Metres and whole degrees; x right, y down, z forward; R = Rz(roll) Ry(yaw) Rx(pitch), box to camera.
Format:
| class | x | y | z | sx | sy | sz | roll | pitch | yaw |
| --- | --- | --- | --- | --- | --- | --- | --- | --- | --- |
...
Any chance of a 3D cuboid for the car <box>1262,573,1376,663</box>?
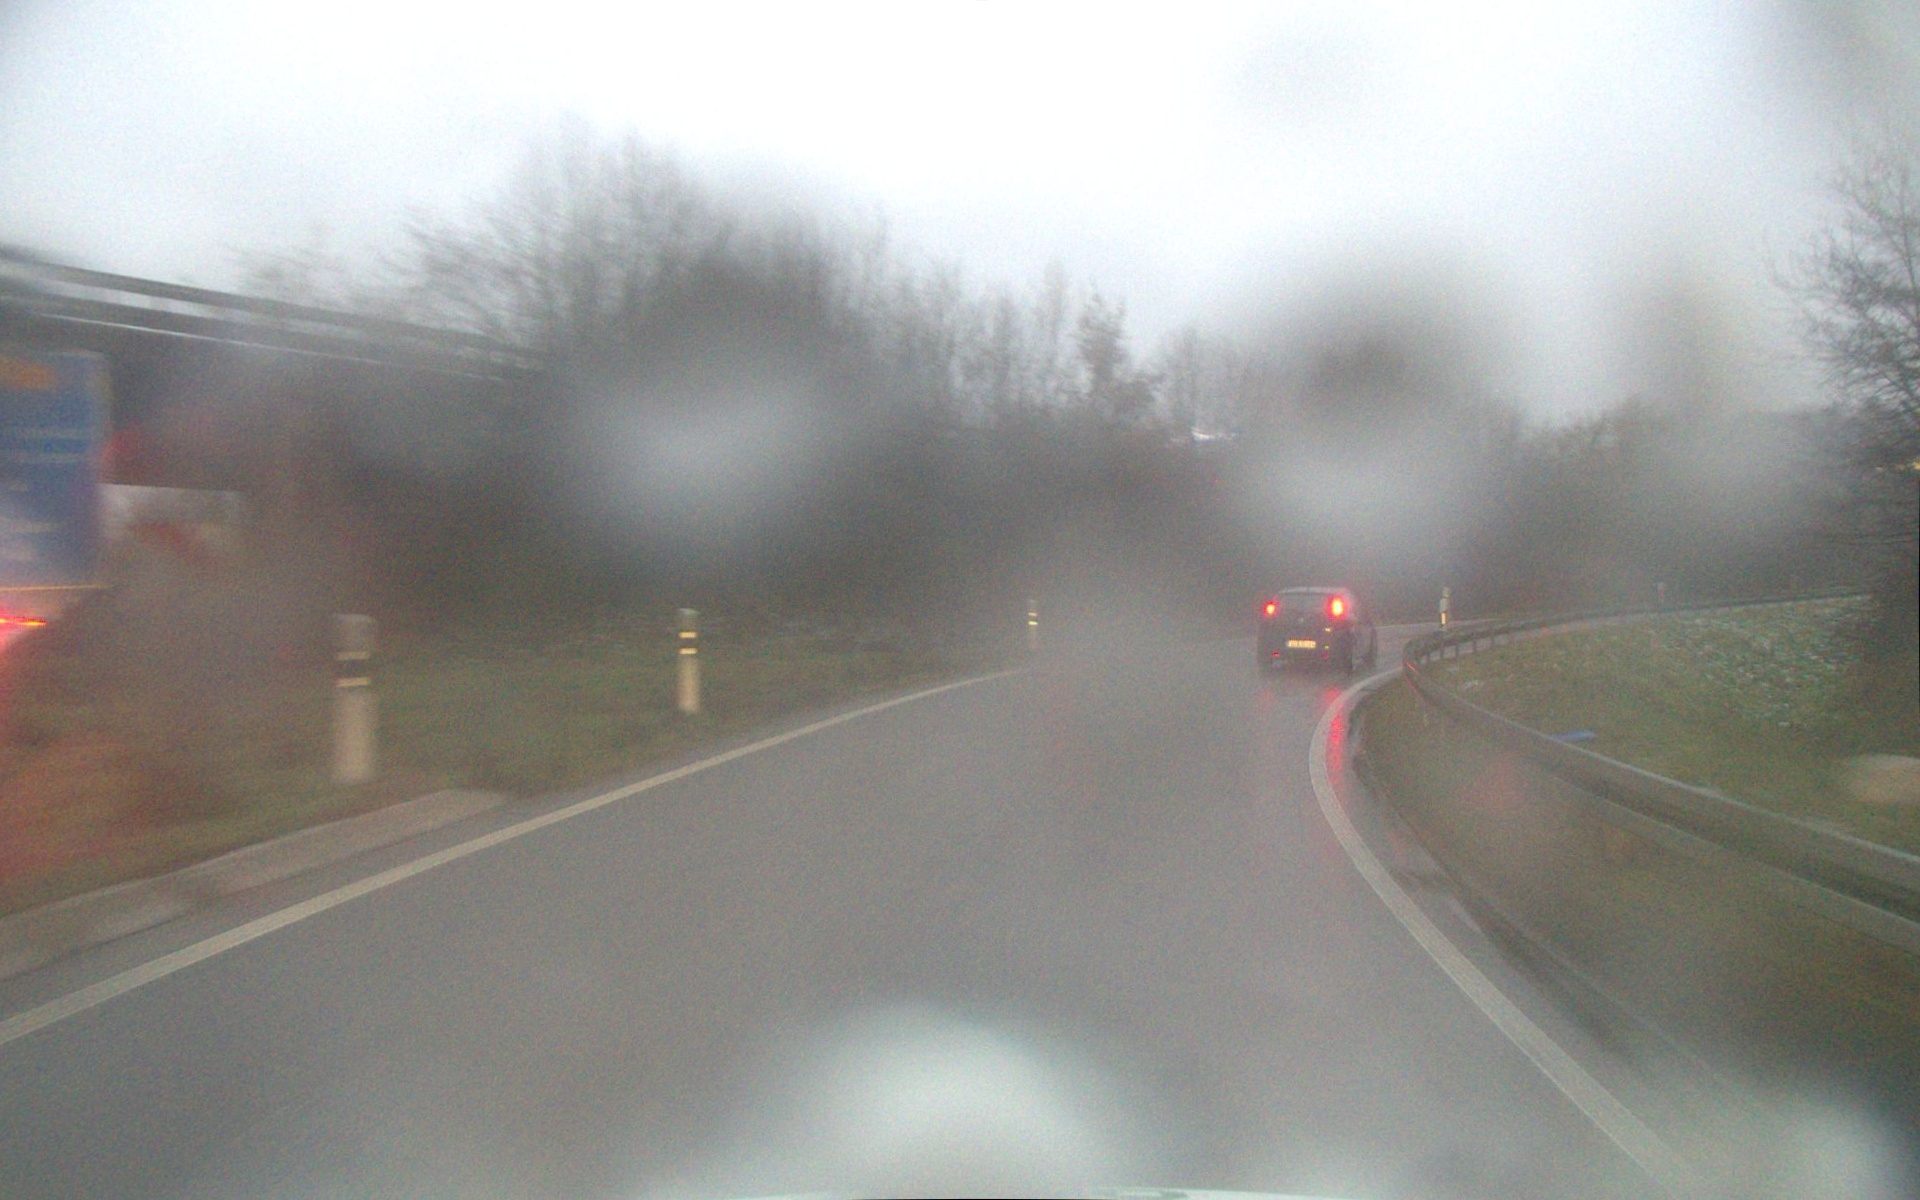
| class | x | y | z | sx | sy | sz | roll | pitch | yaw |
| --- | --- | --- | --- | --- | --- | --- | --- | --- | --- |
| car | 6.601 | 0.366 | 30.179 | 1.695 | 1.454 | 3.767 | 2 | -2 | 17 |
